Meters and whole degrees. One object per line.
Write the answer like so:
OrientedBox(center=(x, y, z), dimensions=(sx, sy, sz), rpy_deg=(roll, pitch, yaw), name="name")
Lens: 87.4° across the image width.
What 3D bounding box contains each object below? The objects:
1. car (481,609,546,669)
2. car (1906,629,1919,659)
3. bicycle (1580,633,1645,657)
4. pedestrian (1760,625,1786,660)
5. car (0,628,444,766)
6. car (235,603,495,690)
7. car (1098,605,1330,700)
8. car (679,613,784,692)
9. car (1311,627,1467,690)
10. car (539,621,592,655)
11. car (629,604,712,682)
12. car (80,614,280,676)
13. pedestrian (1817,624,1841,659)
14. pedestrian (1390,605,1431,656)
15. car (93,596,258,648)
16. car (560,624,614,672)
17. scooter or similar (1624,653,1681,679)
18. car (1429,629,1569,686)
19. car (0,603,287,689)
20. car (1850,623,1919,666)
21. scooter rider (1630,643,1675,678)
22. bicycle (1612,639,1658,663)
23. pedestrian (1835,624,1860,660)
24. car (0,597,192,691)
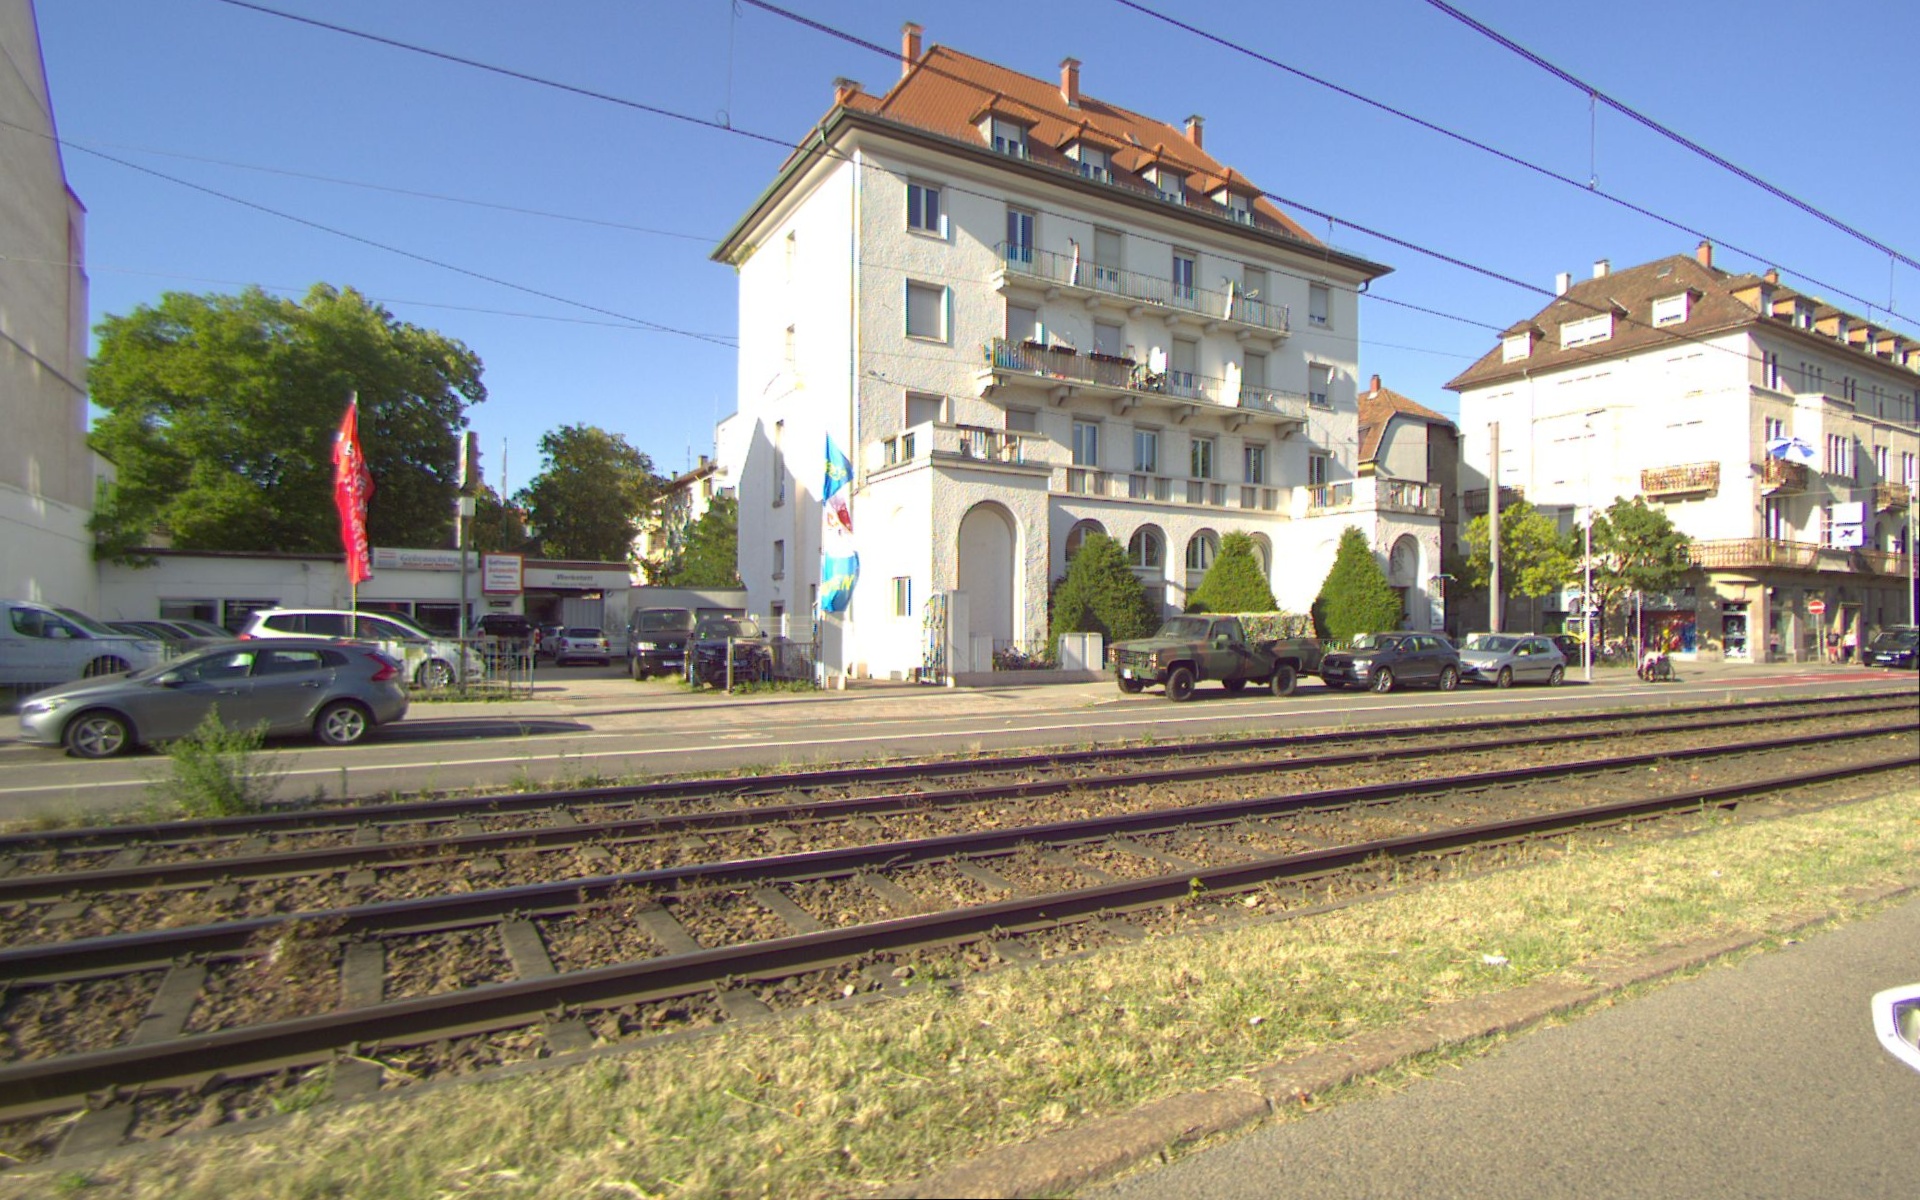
OrientedBox(center=(-15.472, 1.370, 34.740), dimensions=(1.912, 1.910, 3.975), rpy_deg=(2, -3, -25), name="car")
OrientedBox(center=(47.744, 2.144, 48.855), dimensions=(3.469, 1.410, 1.618), rpy_deg=(1, 2, -32), name="car")
OrientedBox(center=(33.141, 2.286, 51.080), dimensions=(0.741, 1.176, 2.875), rpy_deg=(1, -2, -23), name="bicycle")
OrientedBox(center=(39.999, 2.079, 49.417), dimensions=(0.943, 1.683, 0.637), rpy_deg=(2, 0, -28), name="pedestrian")
OrientedBox(center=(-10.020, 1.224, 14.113), dimensions=(4.788, 1.480, 1.910), rpy_deg=(1, 4, -32), name="car")
OrientedBox(center=(-12.455, 1.024, 21.409), dimensions=(4.503, 1.677, 1.898), rpy_deg=(3, -3, -27), name="car")
OrientedBox(center=(6.190, 1.211, 24.292), dimensions=(5.523, 2.037, 2.068), rpy_deg=(1, 0, -29), name="car")
OrientedBox(center=(-5.573, 1.205, 24.131), dimensions=(1.921, 1.655, 4.123), rpy_deg=(-1, -1, -20), name="car")
OrientedBox(center=(11.535, 1.549, 26.956), dimensions=(4.108, 1.527, 1.628), rpy_deg=(2, 0, -29), name="car")
OrientedBox(center=(-19.872, 1.898, 50.484), dimensions=(1.780, 1.530, 3.965), rpy_deg=(2, 0, -32), name="car")
OrientedBox(center=(-8.289, 1.167, 28.527), dimensions=(1.958, 2.029, 4.066), rpy_deg=(-1, -1, -20), name="car")
OrientedBox(center=(-21.447, 1.226, 27.777), dimensions=(3.927, 1.530, 1.797), rpy_deg=(2, 0, -9), name="car")
OrientedBox(center=(42.632, 2.036, 49.268), dimensions=(0.847, 1.719, 0.587), rpy_deg=(2, 0, -28), name="pedestrian")
OrientedBox(center=(16.442, 1.118, 36.662), dimensions=(0.924, 1.801, 0.986), rpy_deg=(2, 0, -31), name="pedestrian")
OrientedBox(center=(-25.314, 0.715, 32.587), dimensions=(3.954, 1.530, 1.785), rpy_deg=(2, 0, -31), name="car")
OrientedBox(center=(-13.766, 1.727, 37.100), dimensions=(1.710, 1.524, 3.981), rpy_deg=(2, 0, -20), name="car")
OrientedBox(center=(22.575, 2.144, 32.786), dimensions=(0.792, 0.780, 1.570), rpy_deg=(0, -2, 1), name="scooter or similar")
OrientedBox(center=(16.014, 1.685, 29.822), dimensions=(3.952, 1.530, 1.786), rpy_deg=(2, 0, -29), name="car")
OrientedBox(center=(-17.446, 1.032, 21.735), dimensions=(4.503, 1.677, 1.898), rpy_deg=(3, -3, -27), name="car")
OrientedBox(center=(42.710, 1.987, 45.920), dimensions=(4.351, 1.810, 1.853), rpy_deg=(1, 1, -31), name="car")
OrientedBox(center=(22.577, 1.960, 32.749), dimensions=(0.792, 1.103, 0.979), rpy_deg=(0, -2, 1), name="scooter rider")
OrientedBox(center=(30.606, 2.312, 45.520), dimensions=(2.382, 1.029, 0.681), rpy_deg=(1, 1, -28), name="bicycle")
OrientedBox(center=(42.970, 2.045, 48.630), dimensions=(0.847, 1.719, 0.587), rpy_deg=(2, 0, -28), name="pedestrian")
OrientedBox(center=(-17.552, 0.816, 18.939), dimensions=(4.503, 1.677, 1.898), rpy_deg=(3, -3, -27), name="car")
